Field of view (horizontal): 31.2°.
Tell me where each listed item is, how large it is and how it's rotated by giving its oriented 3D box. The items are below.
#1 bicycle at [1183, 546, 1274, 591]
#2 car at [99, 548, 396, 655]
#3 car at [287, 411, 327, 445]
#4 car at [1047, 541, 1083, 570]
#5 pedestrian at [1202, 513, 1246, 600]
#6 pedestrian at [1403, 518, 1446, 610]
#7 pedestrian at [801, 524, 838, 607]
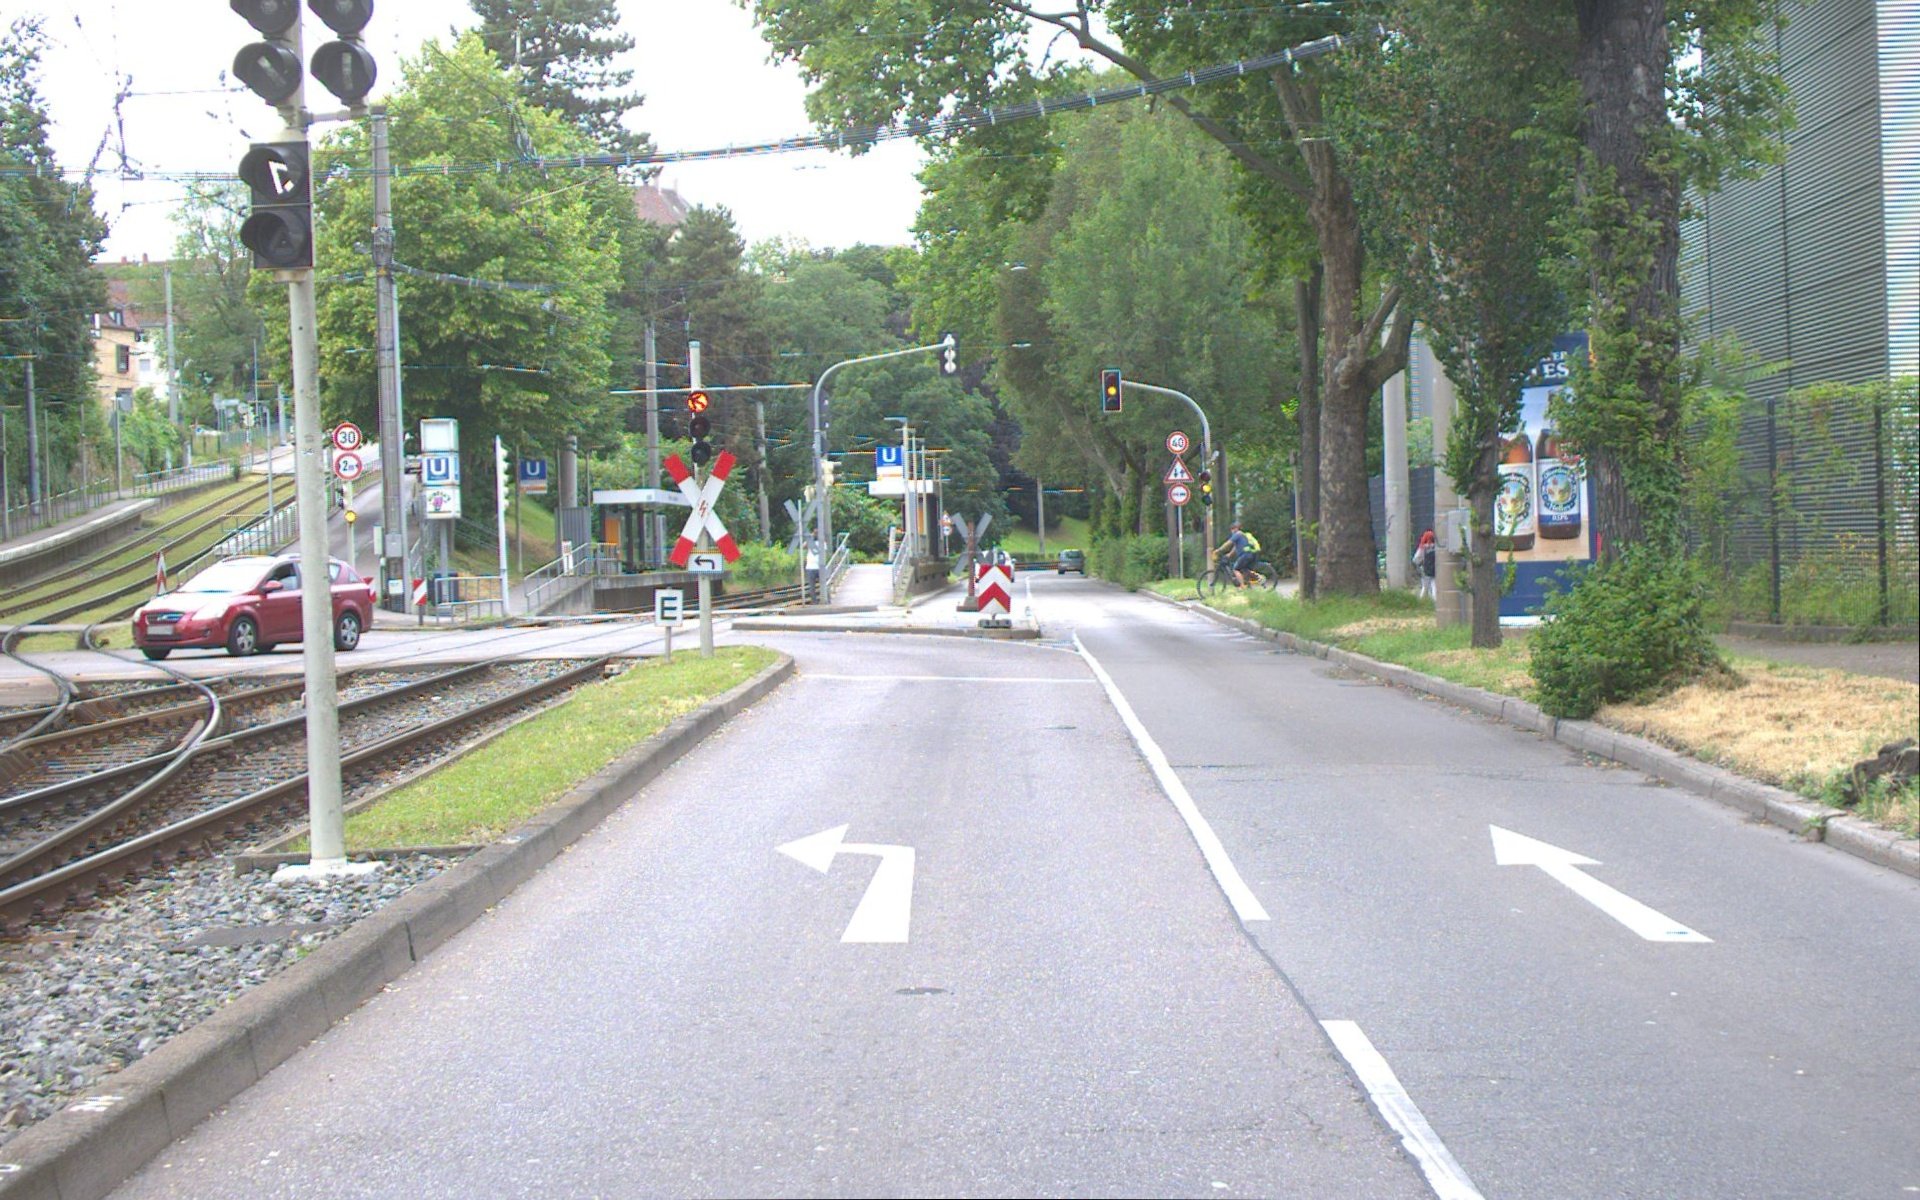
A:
[{"bbox_3d":[6.320,-0.747,80.925,2.075,1.003,0.668,-2,1,7],"label":"bicycle"},{"bbox_3d":[-10.828,-0.004,52.560,1.997,1.510,4.494,0,1,29],"label":"car"},{"bbox_3d":[-42.724,-11.238,225.061,1.993,2.007,4.001,-2,1,-3],"label":"car"},{"bbox_3d":[6.867,-2.945,225.029,1.993,1.809,4.001,-2,1,-3],"label":"car"},{"bbox_3d":[6.212,-1.028,80.932,0.931,2.007,0.668,-2,0,8],"label":"pedestrian"},{"bbox_3d":[8.015,-0.626,59.331,0.666,1.548,0.934,-2,1,7],"label":"pedestrian"},{"bbox_3d":[-3.157,-0.773,77.296,0.768,1.846,0.910,-2,0,-2],"label":"pedestrian"}]
